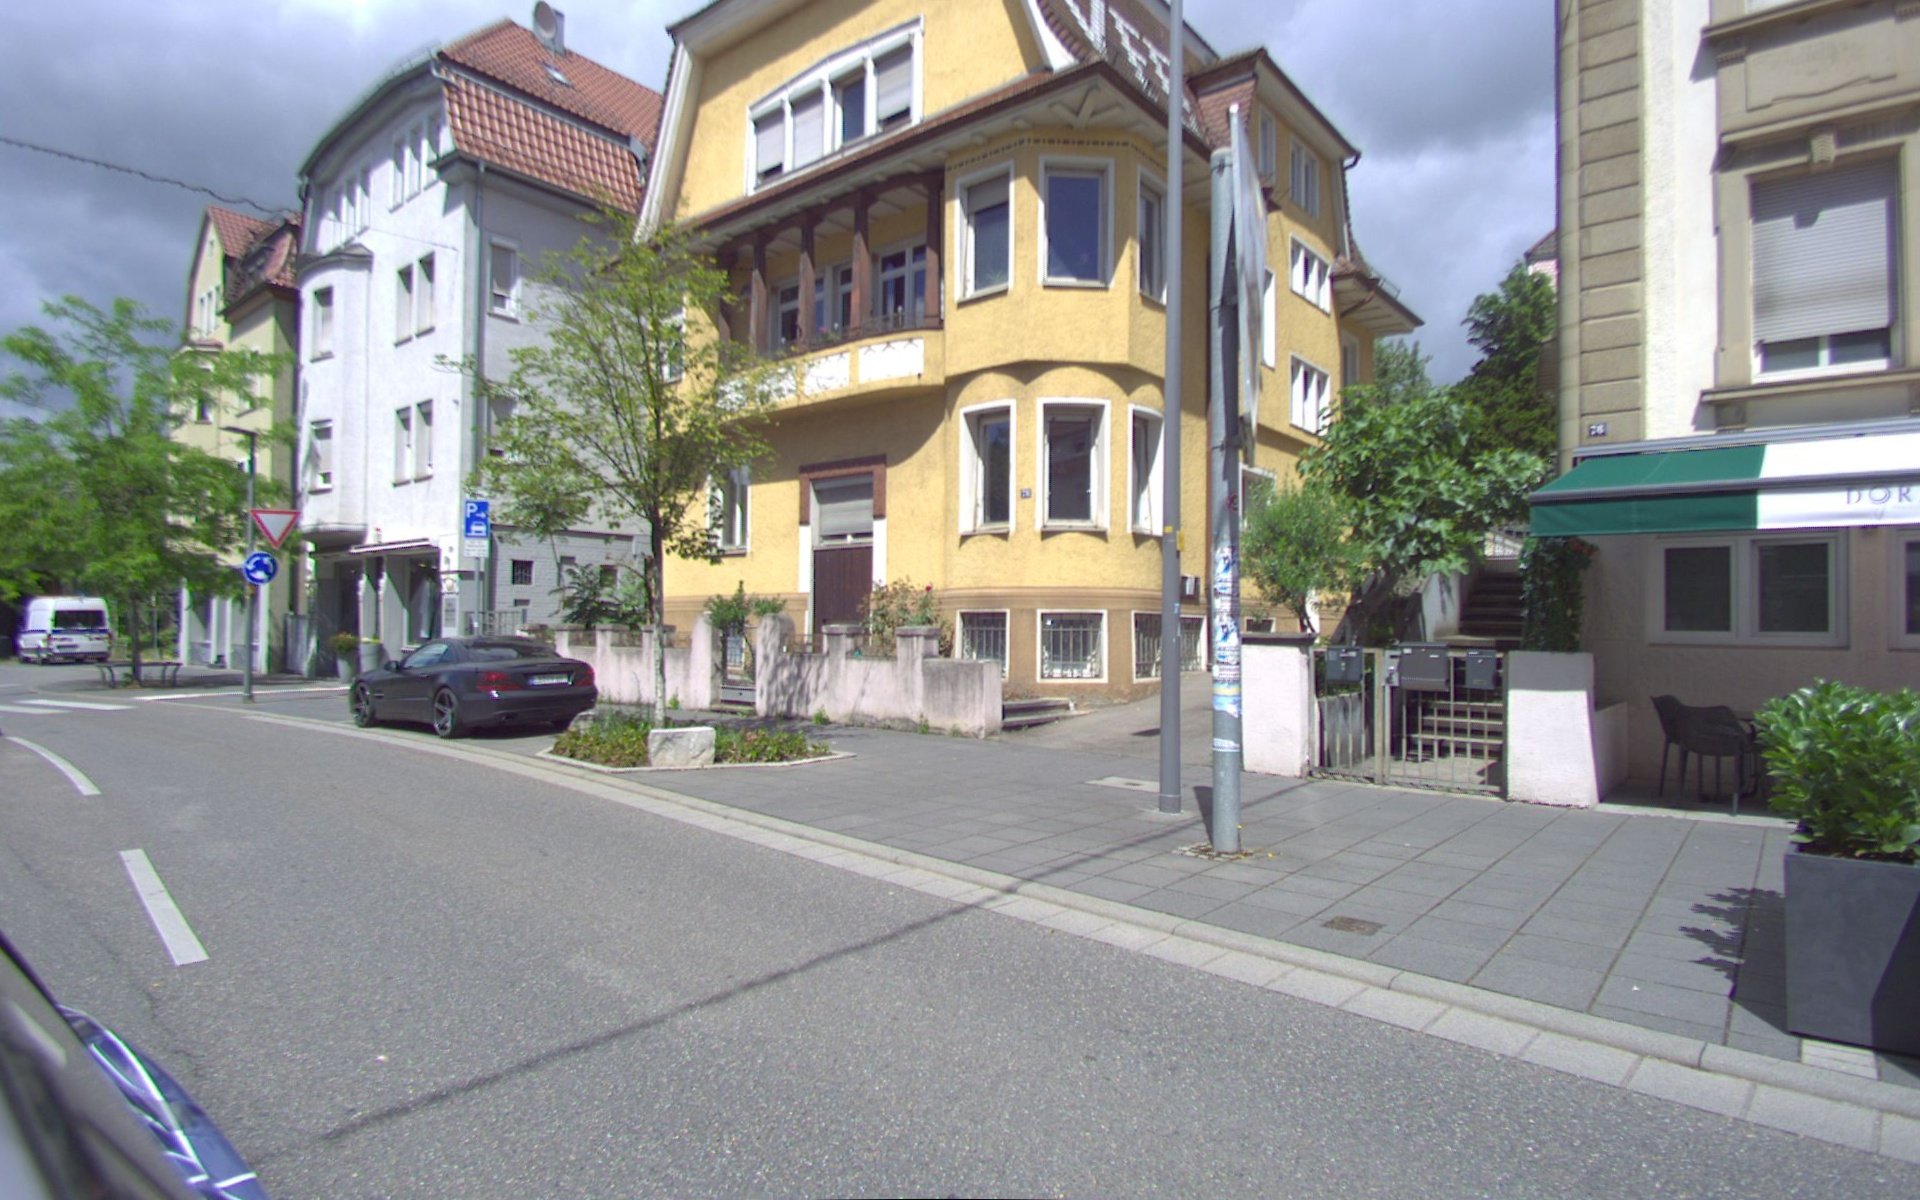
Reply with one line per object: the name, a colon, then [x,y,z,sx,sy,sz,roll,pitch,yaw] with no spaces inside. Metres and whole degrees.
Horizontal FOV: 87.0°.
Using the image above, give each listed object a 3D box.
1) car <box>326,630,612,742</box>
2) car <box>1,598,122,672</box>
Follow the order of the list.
car: [-6.849,1.109,13.936,4.458,1.314,1.701,-3,-3,37]
car: [-35.425,1.300,39.830,7.259,2.692,2.281,-1,0,38]
